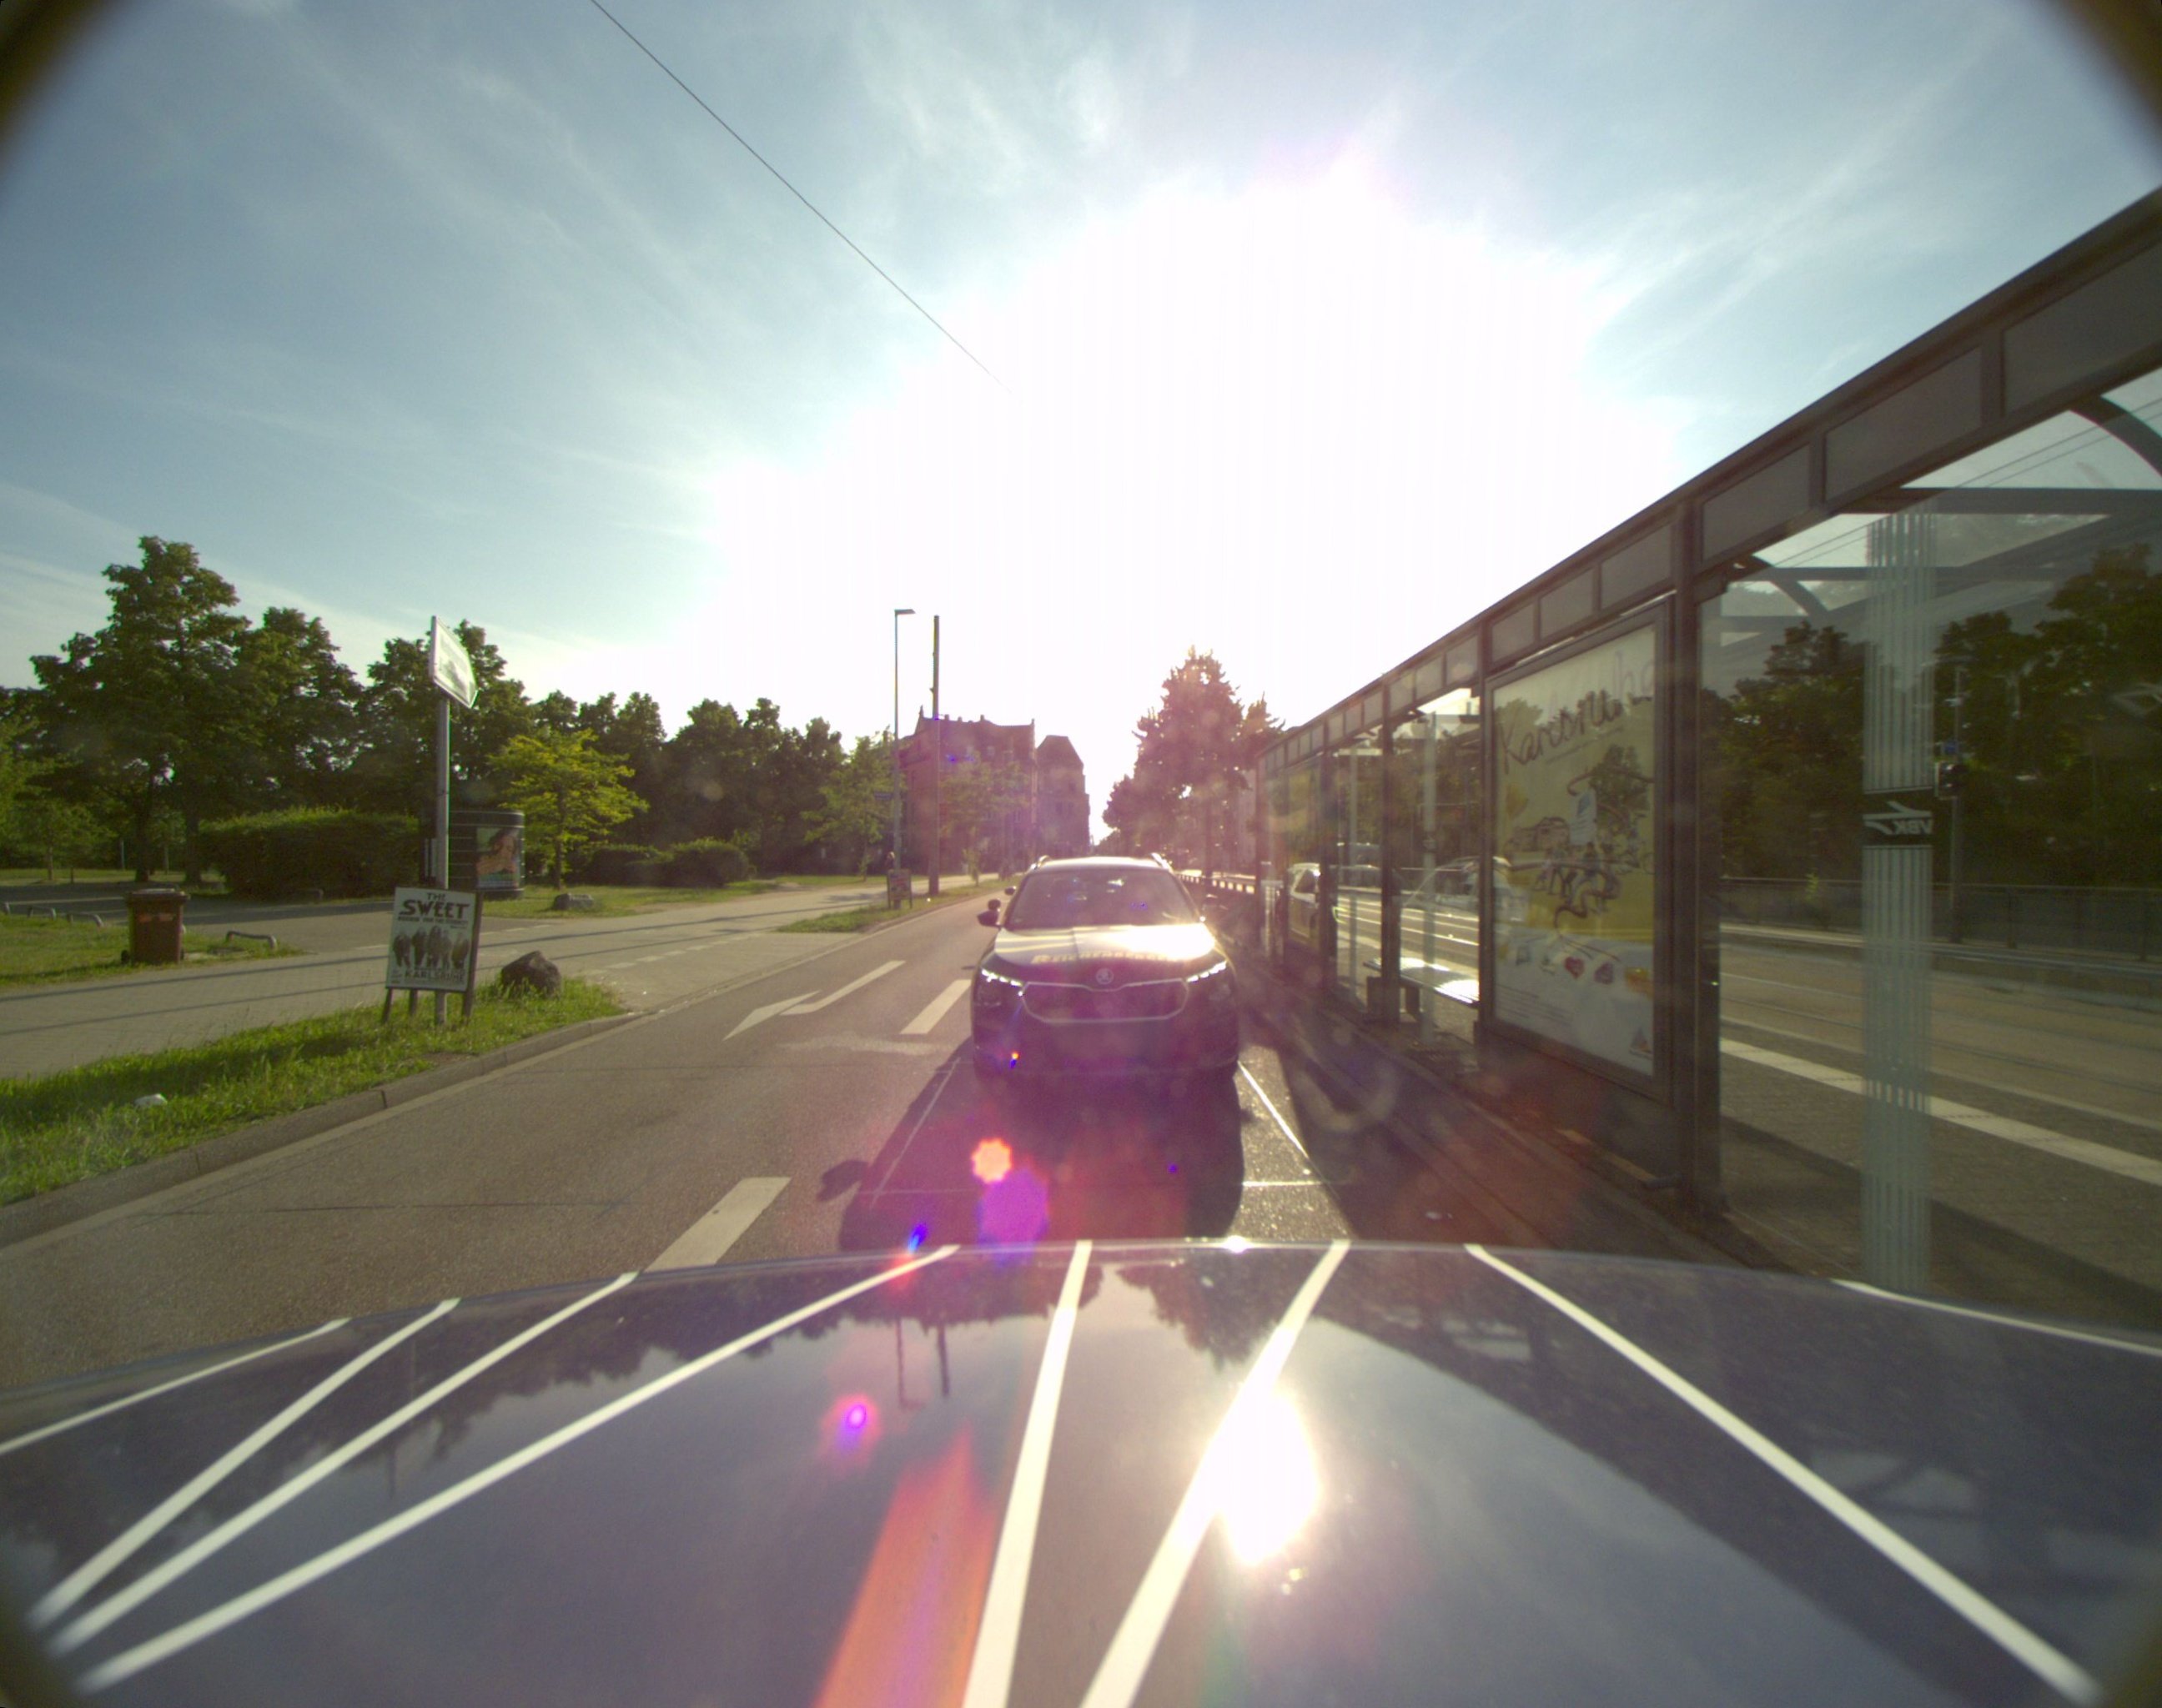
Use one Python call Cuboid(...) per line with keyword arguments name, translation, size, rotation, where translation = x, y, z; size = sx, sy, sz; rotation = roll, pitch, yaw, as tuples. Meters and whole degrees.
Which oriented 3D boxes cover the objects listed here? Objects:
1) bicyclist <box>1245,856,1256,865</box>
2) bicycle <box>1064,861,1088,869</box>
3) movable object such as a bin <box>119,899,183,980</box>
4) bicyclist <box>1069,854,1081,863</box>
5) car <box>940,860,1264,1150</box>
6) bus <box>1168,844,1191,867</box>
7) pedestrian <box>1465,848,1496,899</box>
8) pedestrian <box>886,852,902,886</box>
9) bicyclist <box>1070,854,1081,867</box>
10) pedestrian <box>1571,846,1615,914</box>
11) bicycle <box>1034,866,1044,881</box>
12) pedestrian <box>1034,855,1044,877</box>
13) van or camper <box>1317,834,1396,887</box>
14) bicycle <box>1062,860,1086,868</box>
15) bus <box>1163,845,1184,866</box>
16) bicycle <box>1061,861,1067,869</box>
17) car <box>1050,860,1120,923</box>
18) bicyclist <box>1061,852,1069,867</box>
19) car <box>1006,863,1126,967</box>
Cuboid(name="bicyclist", translation=(20.835, 0.809, 93.193), size=(1.216, 1.018, 0.672), rotation=(0, 0, 5))
Cuboid(name="bicycle", translation=(-0.613, 1.386, 95.275), size=(2.962, 0.974, 0.879), rotation=(0, 0, -2))
Cuboid(name="movable object such as a bin", translation=(-11.397, 1.027, 9.323), size=(0.603, 0.912, 0.457), rotation=(1, 1, 42))
Cuboid(name="bicyclist", translation=(-0.741, 0.555, 92.320), size=(1.402, 1.000, 0.888), rotation=(0, 0, -1))
Cuboid(name="car", translation=(0.152, 0.855, 6.318), size=(1.756, 1.534, 4.235), rotation=(-1, 0, 1))
Cuboid(name="bus", translation=(15.874, 0.207, 123.006), size=(2.437, 3.415, 9.261), rotation=(-2, 1, 1))
Cuboid(name="pedestrian", translation=(13.534, 0.658, 25.756), size=(0.621, 1.675, 0.618), rotation=(3, 1, 1))
Cuboid(name="pedestrian", translation=(-9.472, 0.754, 38.470), size=(0.621, 1.675, 0.618), rotation=(-2, 1, 1))
Cuboid(name="bicyclist", translation=(-0.684, 0.801, 95.260), size=(1.402, 1.538, 0.888), rotation=(0, 0, -1))
Cuboid(name="pedestrian", translation=(13.136, 0.665, 19.510), size=(0.621, 1.675, 0.618), rotation=(3, 1, 1))
Cuboid(name="bicycle", translation=(-2.999, 1.395, 54.552), size=(0.652, 1.040, 1.980), rotation=(-2, 1, -2))
Cuboid(name="pedestrian", translation=(-3.004, 0.848, 54.605), size=(0.637, 1.512, 0.845), rotation=(-2, 1, -2))
Cuboid(name="van or camper", translation=(16.809, 0.320, 46.805), size=(2.527, 2.951, 6.411), rotation=(-2, 1, 1))
Cuboid(name="bicycle", translation=(-0.842, 1.253, 92.304), size=(2.962, 0.974, 0.879), rotation=(0, 0, -2))
Cuboid(name="bus", translation=(16.033, 0.202, 132.268), size=(2.437, 3.415, 9.261), rotation=(-2, 1, 1))
Cuboid(name="bicycle", translation=(-1.614, 1.086, 73.690), size=(0.567, 0.789, 2.041), rotation=(0, 0, 0))
Cuboid(name="car", translation=(0.140, 0.986, 21.575), size=(1.756, 1.534, 4.235), rotation=(-1, 0, 1))
Cuboid(name="bicyclist", translation=(-1.561, 0.499, 73.698), size=(0.689, 1.445, 1.111), rotation=(0, 0, 0))
Cuboid(name="car", translation=(-0.190, 0.936, 13.459), size=(1.756, 1.451, 4.235), rotation=(-1, 0, 1))
